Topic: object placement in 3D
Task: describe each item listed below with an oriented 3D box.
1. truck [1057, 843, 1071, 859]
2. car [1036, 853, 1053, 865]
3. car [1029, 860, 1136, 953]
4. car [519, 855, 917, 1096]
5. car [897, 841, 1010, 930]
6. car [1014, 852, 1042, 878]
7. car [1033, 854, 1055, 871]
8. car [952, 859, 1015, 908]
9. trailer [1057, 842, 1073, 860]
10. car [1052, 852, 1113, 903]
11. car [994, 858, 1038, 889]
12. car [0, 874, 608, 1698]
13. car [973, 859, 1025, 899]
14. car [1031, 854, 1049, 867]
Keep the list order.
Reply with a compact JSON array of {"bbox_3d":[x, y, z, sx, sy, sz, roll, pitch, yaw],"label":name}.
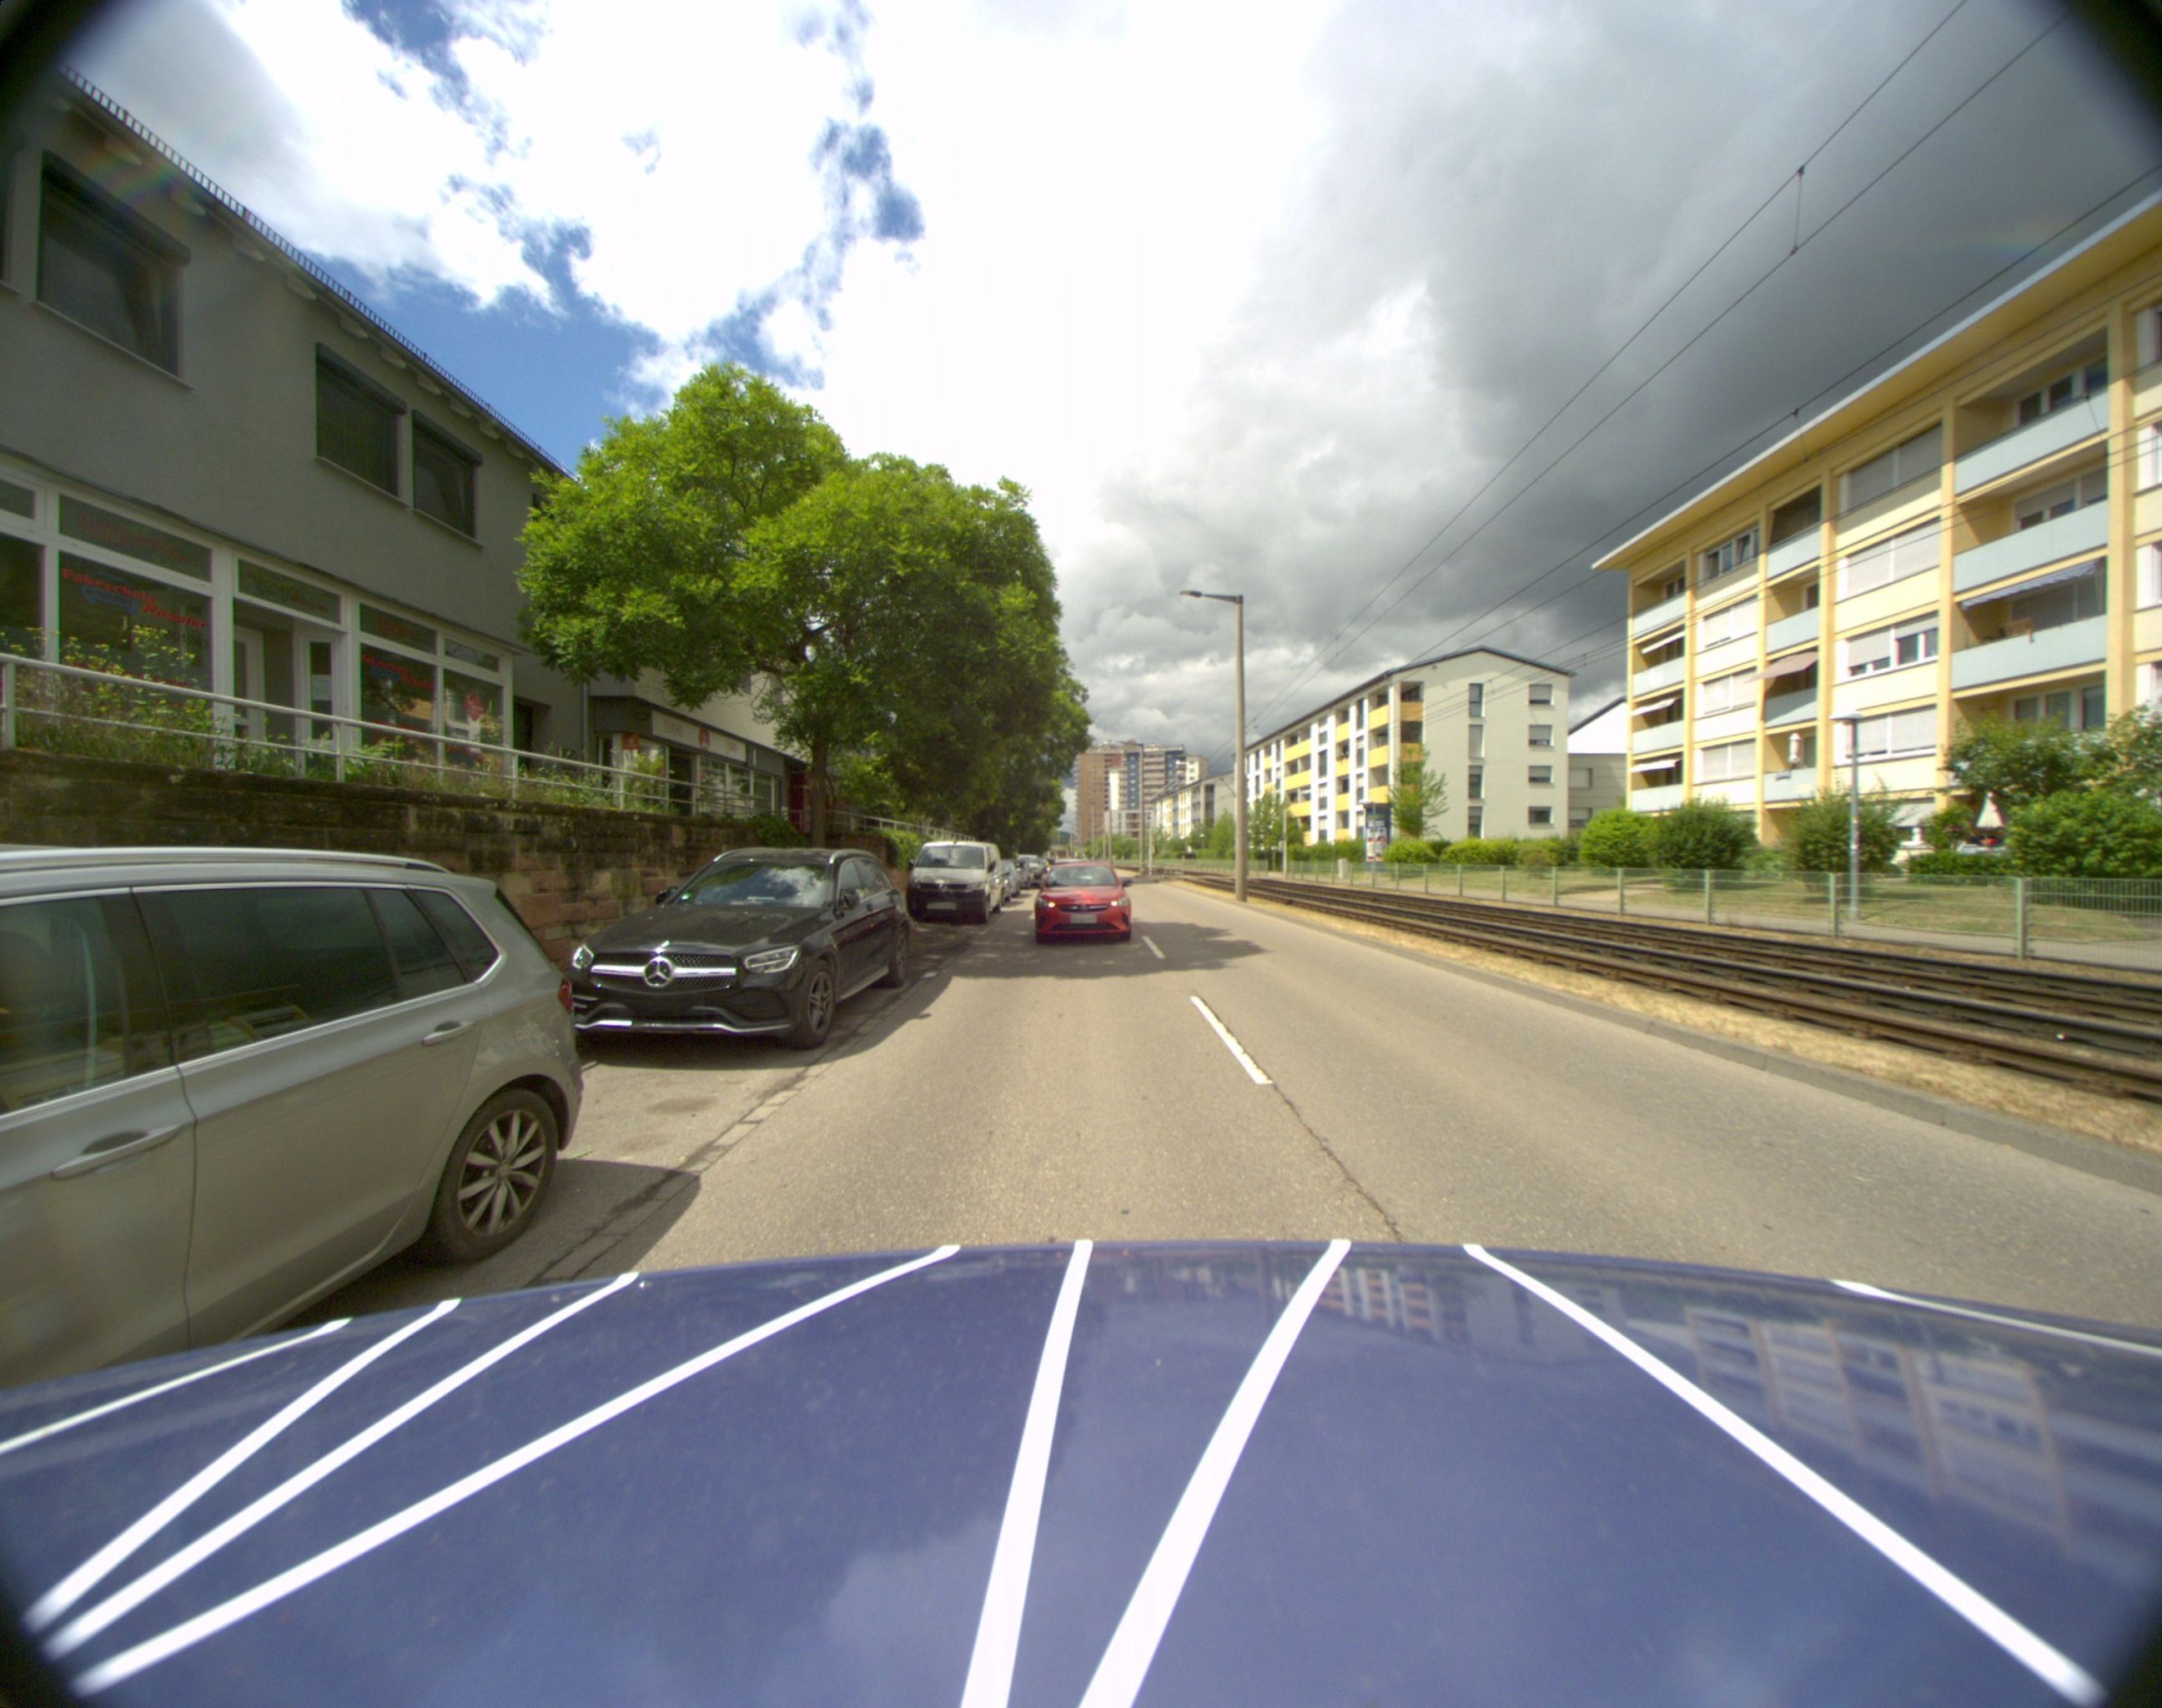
[{"bbox_3d":[-3.734,-0.624,165.078,2.852,3.429,4.414,-3,1,-3],"label":"truck"},{"bbox_3d":[-4.460,0.581,93.603,1.785,1.420,4.147,-1,0,0],"label":"car"},{"bbox_3d":[0.061,0.898,14.766,1.723,1.434,4.000,-3,0,1],"label":"car"},{"bbox_3d":[-2.995,0.849,7.485,1.794,1.608,4.447,1,0,0],"label":"car"},{"bbox_3d":[-3.058,0.687,19.340,1.978,1.958,5.012,-1,0,0],"label":"car"},{"bbox_3d":[-3.641,0.728,52.601,1.819,1.643,4.146,-1,0,-2],"label":"car"},{"bbox_3d":[-3.354,0.770,69.827,1.785,1.420,4.147,-1,0,0],"label":"car"},{"bbox_3d":[-3.141,0.911,25.094,1.578,1.420,3.734,-1,0,0],"label":"car"},{"bbox_3d":[-3.386,-0.596,156.945,2.875,3.428,14.611,-3,0,-2],"label":"trailer"},{"bbox_3d":[-0.017,0.763,26.663,1.927,1.543,3.999,-3,0,-2],"label":"car"},{"bbox_3d":[-3.140,0.919,37.428,1.785,1.420,4.147,-1,0,0],"label":"car"},{"bbox_3d":[-3.094,0.912,1.411,1.794,1.608,4.248,0,0,0],"label":"car"},{"bbox_3d":[-3.211,0.955,30.368,1.785,1.420,4.144,-1,0,-2],"label":"car"},{"bbox_3d":[-4.595,0.716,86.317,1.785,1.420,4.147,-1,0,0],"label":"car"}]
